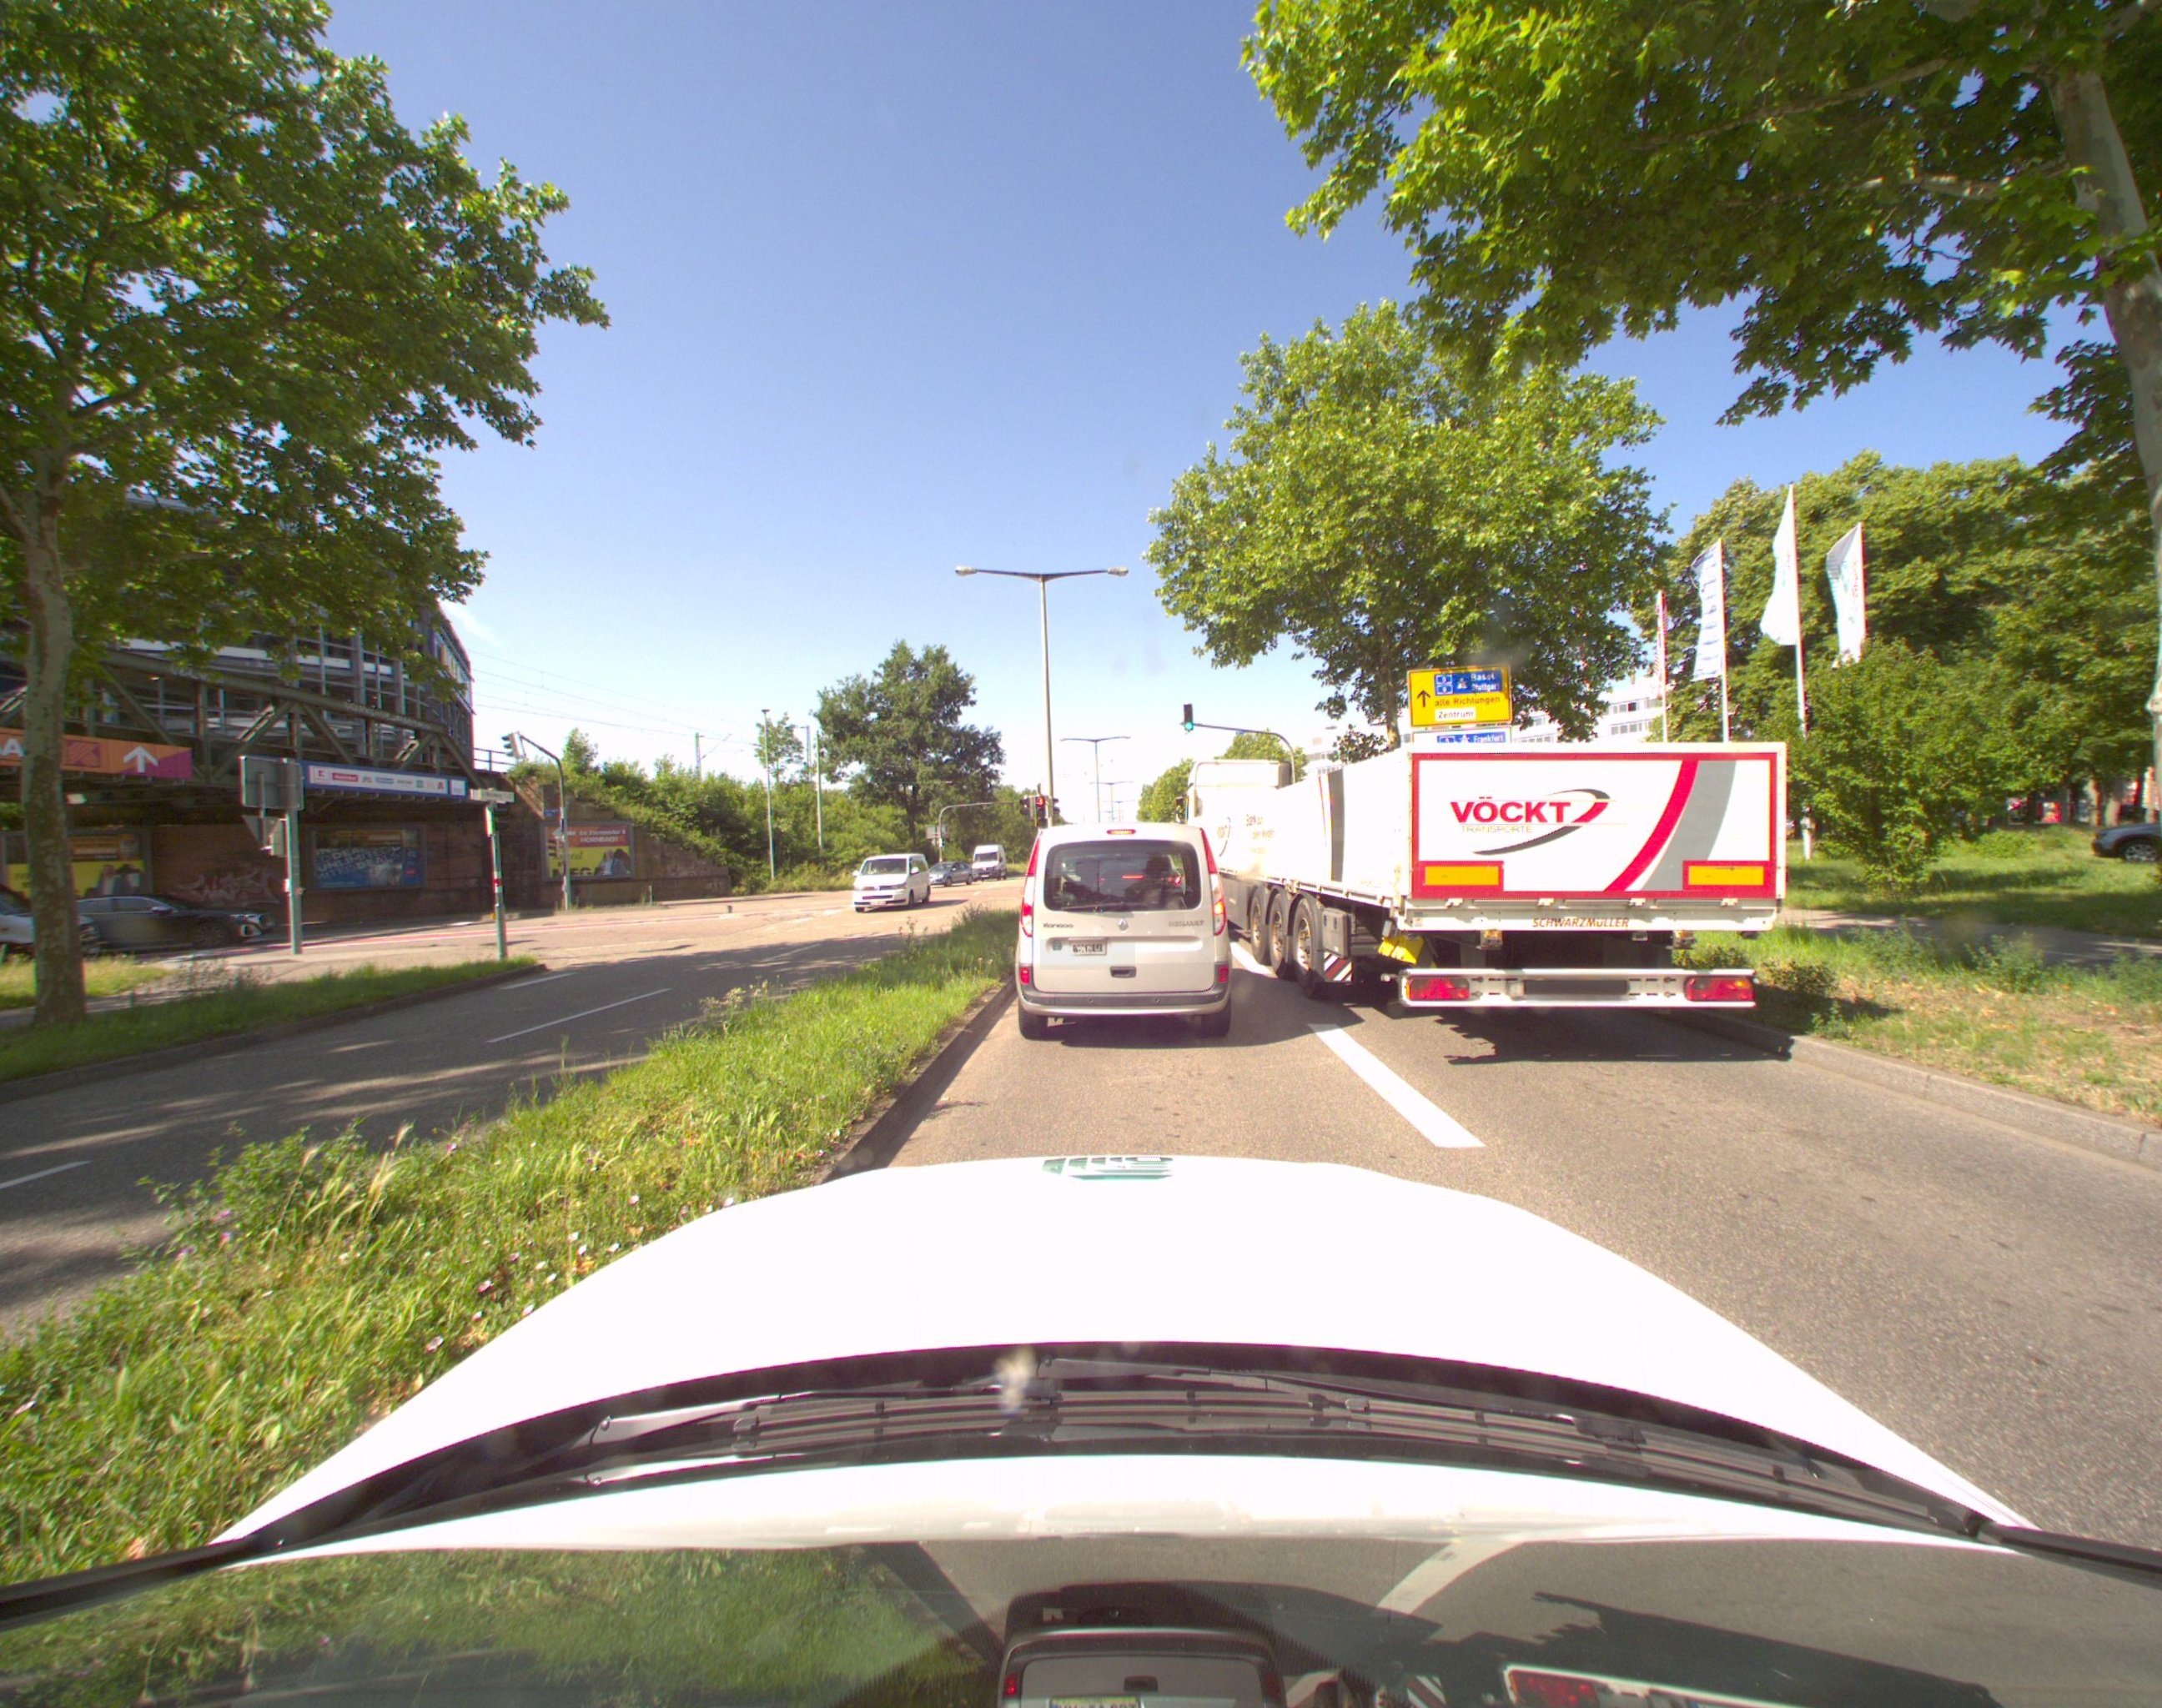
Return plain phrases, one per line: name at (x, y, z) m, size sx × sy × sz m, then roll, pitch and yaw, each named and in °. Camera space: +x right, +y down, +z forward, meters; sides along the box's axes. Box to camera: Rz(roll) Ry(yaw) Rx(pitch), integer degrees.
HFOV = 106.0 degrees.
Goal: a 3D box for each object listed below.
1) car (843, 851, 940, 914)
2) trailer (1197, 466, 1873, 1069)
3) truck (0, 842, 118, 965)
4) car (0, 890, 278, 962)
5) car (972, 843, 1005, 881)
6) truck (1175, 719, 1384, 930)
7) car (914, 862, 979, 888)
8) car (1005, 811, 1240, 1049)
car at (-6.583, 0.935, 28.885) m, size 1.986 × 1.891 × 4.989 m, roll -4°, pitch 0°, yaw 2°
trailer at (3.700, -0.505, 11.254) m, size 3.004 × 3.740 × 12.248 m, roll -1°, pitch 0°, yaw 3°
truck at (-26.206, 1.150, 17.726) m, size 6.431 × 2.712 × 1.979 m, roll -1°, pitch -1°, yaw -34°
car at (-26.085, 1.923, 22.695) m, size 5.074 × 1.596 × 1.510 m, roll -1°, pitch -1°, yaw -35°
car at (-6.787, 0.595, 60.157) m, size 2.054 × 2.614 × 5.862 m, roll -1°, pitch 0°, yaw -3°
truck at (4.026, -0.507, 18.492) m, size 3.060 × 3.758 × 7.479 m, roll -1°, pitch 0°, yaw 2°
car at (-7.974, 1.208, 48.682) m, size 1.894 × 1.409 × 4.250 m, roll -1°, pitch 0°, yaw 22°
car at (0.388, 0.591, 8.150) m, size 1.742 × 1.772 × 3.951 m, roll -1°, pitch 0°, yaw 2°
